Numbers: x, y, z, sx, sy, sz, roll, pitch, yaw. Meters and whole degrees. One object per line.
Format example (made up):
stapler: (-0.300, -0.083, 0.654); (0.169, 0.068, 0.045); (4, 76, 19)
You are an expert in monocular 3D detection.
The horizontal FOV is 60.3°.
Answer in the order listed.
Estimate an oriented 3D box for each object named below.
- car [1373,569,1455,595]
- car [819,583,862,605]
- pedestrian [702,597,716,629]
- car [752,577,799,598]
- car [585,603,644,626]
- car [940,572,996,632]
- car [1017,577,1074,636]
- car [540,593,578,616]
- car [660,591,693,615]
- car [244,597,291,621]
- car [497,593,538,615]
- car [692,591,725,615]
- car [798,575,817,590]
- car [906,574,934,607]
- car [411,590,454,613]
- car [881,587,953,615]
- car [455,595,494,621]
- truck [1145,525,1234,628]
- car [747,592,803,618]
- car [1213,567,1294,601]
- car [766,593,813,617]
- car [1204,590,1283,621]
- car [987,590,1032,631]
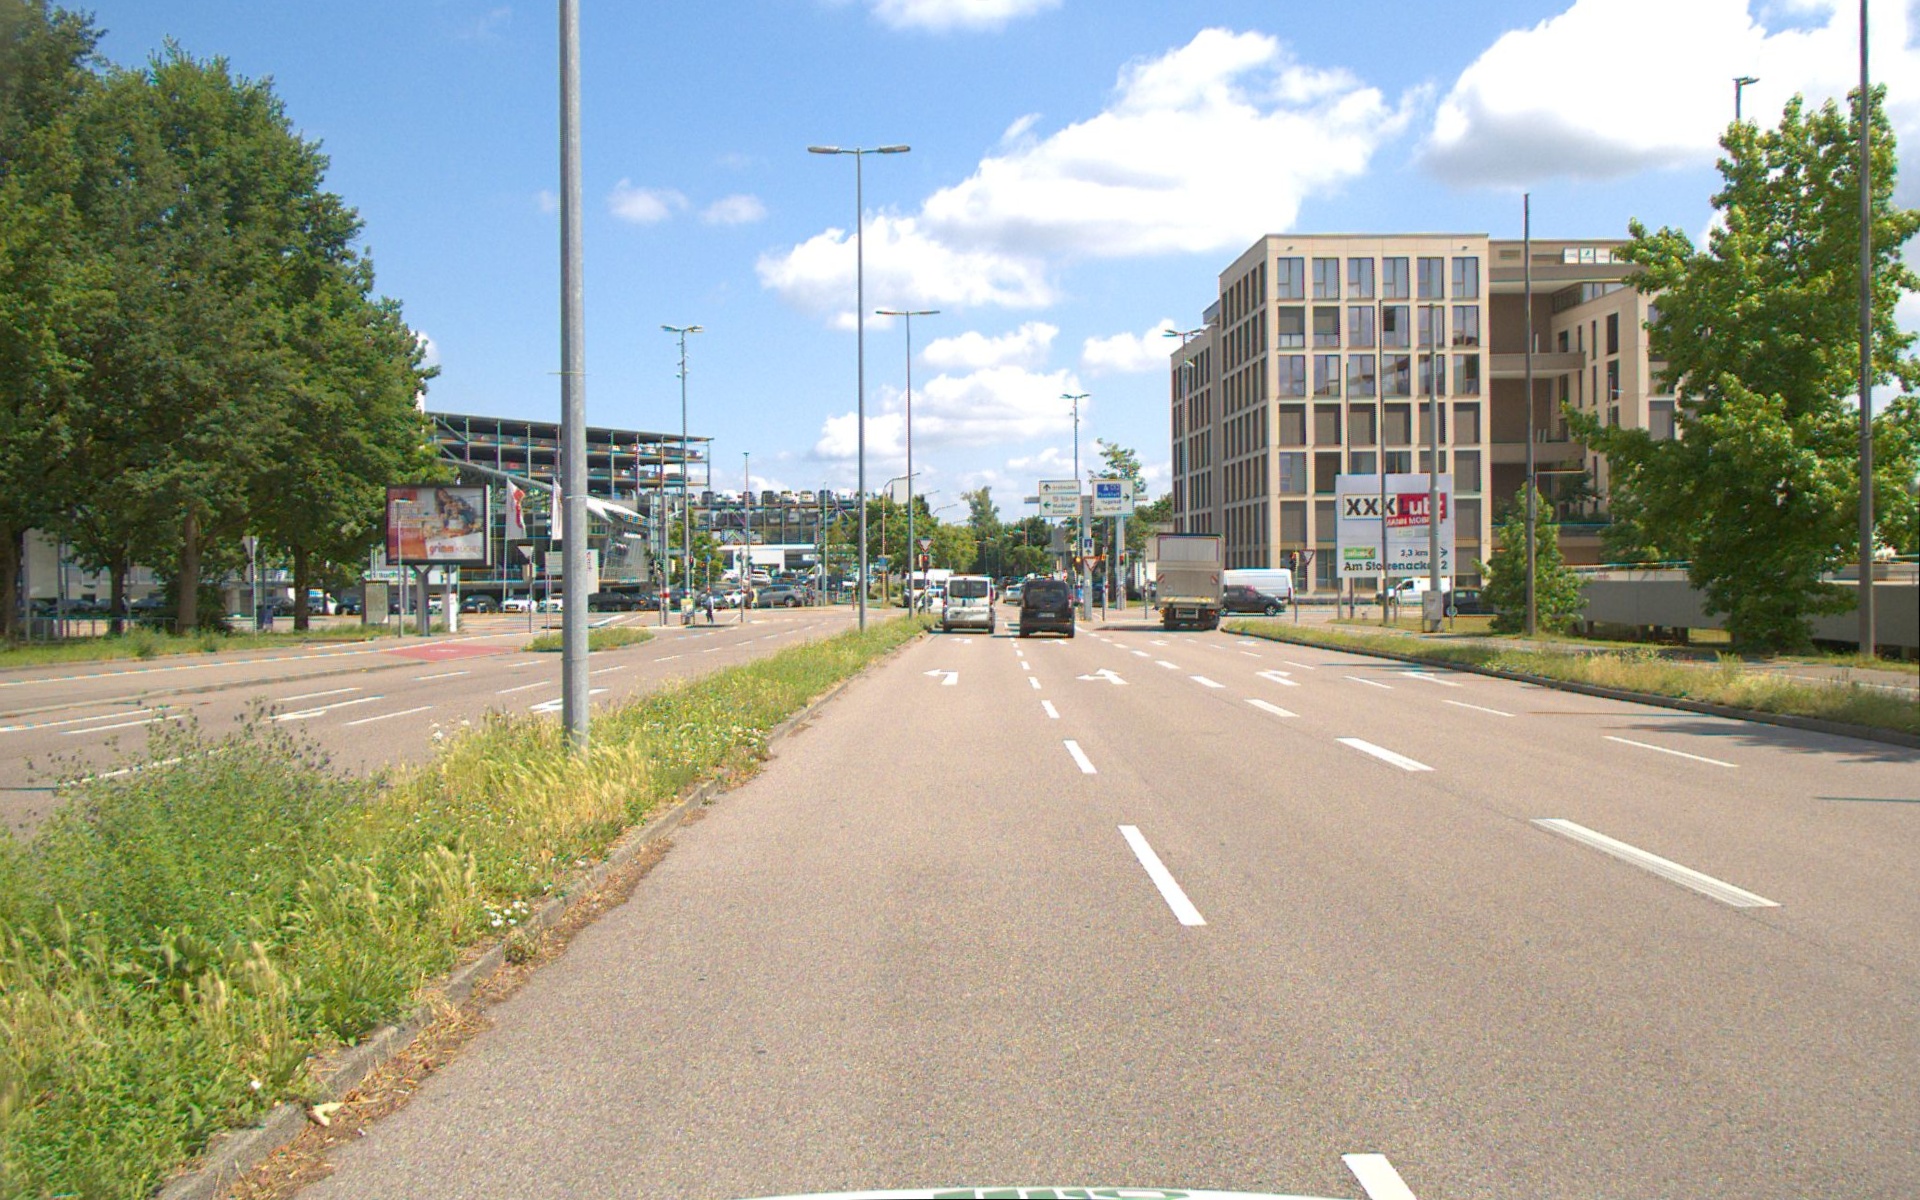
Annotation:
car: (29.863, -1.189, 108.890); (4.882, 1.635, 1.999); (0, 1, -2)
car: (-10.785, -0.502, 149.162); (3.910, 1.959, 1.824); (0, 0, -6)
pedestrian: (-11.947, 0.630, 78.827); (0.460, 1.538, 0.511); (0, 0, 26)
car: (-16.582, -1.143, 148.551); (4.084, 1.742, 1.687); (1, 1, -5)
car: (-23.327, 0.960, 111.787); (3.717, 1.539, 1.678); (0, 1, -4)
car: (0.318, 0.048, 59.350); (1.817, 2.053, 4.002); (1, 1, 3)
car: (2.848, 0.208, 54.628); (1.781, 1.840, 4.002); (1, 0, 4)
car: (-27.130, 0.281, 112.026); (1.740, 1.475, 4.027); (0, 1, -3)
car: (-19.254, 0.199, 112.311); (1.787, 1.579, 3.983); (0, 0, -16)
car: (-45.737, 0.572, 109.325); (1.800, 1.514, 3.698); (0, 1, -4)
car: (-29.913, 0.270, 111.888); (1.869, 1.400, 3.750); (0, 1, -3)
car: (-17.169, 0.207, 112.814); (1.787, 1.579, 3.983); (0, 0, -16)
car: (-15.617, -1.796, 169.901); (1.809, 1.556, 3.998); (0, 1, -3)
car: (-2.874, -0.702, 120.658); (1.931, 2.295, 4.980); (-2, 1, -1)
car: (-35.530, 0.072, 111.478); (1.841, 1.512, 3.699); (0, 1, -3)
car: (-2.312, 0.053, 88.058); (3.776, 1.492, 1.694); (0, 1, -5)
car: (-32.698, 0.518, 111.522); (1.722, 1.689, 3.615); (0, 1, -3)
truck: (9.627, -0.989, 68.675); (3.063, 4.009, 8.866); (0, 1, 12)
car: (-13.097, 0.355, 117.414); (3.784, 1.668, 1.857); (-2, 1, -3)
car: (19.951, -1.103, 112.556); (5.379, 2.294, 2.002); (0, 1, 10)
car: (-13.250, 0.383, 128.589); (3.438, 1.742, 1.603); (-2, 1, -3)
car: (15.122, 0.303, 88.458); (4.056, 1.529, 1.628); (-2, 1, 8)
car: (1.980, 0.407, 65.742); (1.704, 1.570, 4.001); (1, 0, 2)
